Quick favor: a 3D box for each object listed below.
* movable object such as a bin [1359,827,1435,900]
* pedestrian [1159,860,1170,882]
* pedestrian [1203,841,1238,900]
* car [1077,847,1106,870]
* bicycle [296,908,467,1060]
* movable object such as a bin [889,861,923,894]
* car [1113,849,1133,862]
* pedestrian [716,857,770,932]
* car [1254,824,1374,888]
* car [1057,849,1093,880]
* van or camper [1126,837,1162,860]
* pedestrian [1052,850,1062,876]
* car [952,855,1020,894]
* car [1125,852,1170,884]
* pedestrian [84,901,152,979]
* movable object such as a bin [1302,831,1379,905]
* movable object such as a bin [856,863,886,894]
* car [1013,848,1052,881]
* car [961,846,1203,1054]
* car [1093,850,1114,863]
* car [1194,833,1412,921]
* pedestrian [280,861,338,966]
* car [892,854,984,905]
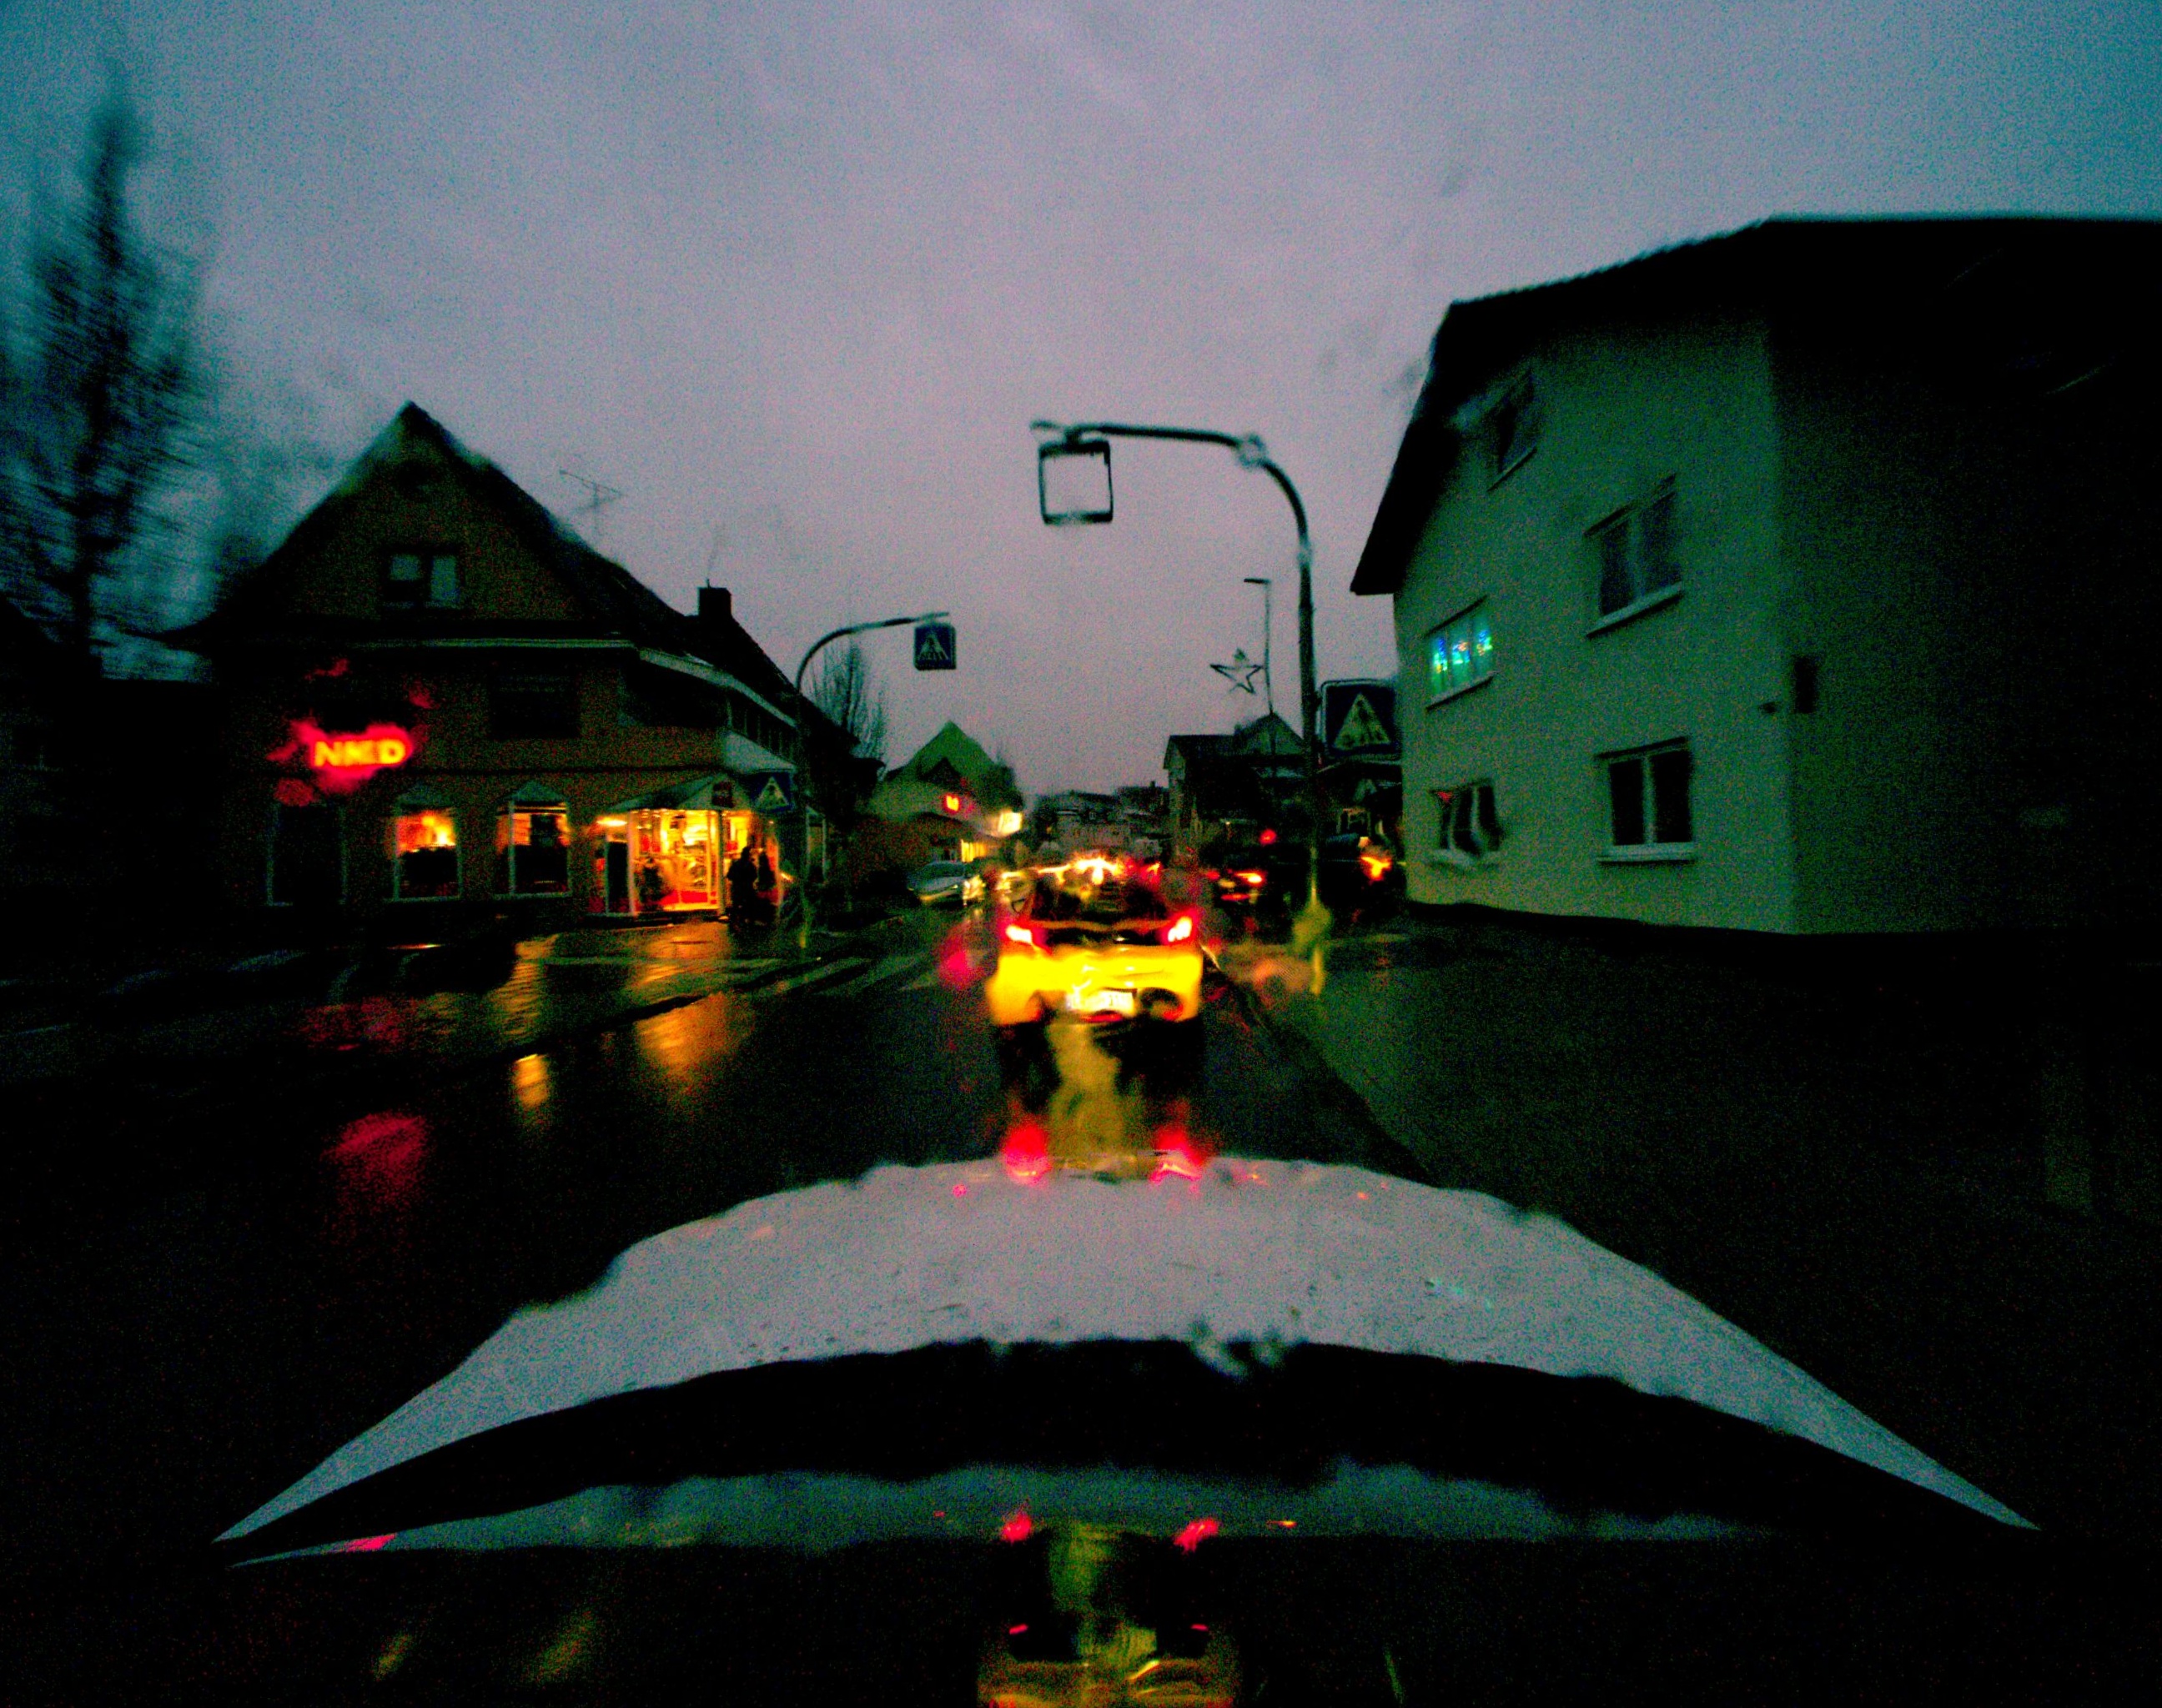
[{"bbox_3d":[7.612,0.218,19.666,1.281,1.644,1.185,-4,0,0],"label":"movable object such as a bin"},{"bbox_3d":[6.783,1.416,66.375,0.743,1.729,0.873,-1,1,0],"label":"pedestrian"},{"bbox_3d":[4.551,0.518,26.627,0.963,1.889,1.006,0,-1,0],"label":"pedestrian"},{"bbox_3d":[0.788,0.316,65.153,1.948,1.546,4.410,2,2,-4],"label":"car"},{"bbox_3d":[-6.334,1.113,7.485,0.324,1.061,1.737,-6,2,-13],"label":"bicycle"},{"bbox_3d":[-7.883,1.052,36.685,1.339,1.354,0.887,-4,-1,-7],"label":"movable object such as a bin"},{"bbox_3d":[6.121,0.238,119.504,1.995,1.610,4.158,-3,-1,-11],"label":"car"},{"bbox_3d":[-7.721,0.896,18.631,0.825,1.658,1.096,0,0,-4],"label":"pedestrian"},{"bbox_3d":[8.546,0.076,30.242,4.064,2.049,2.006,-3,0,11],"label":"car"},{"bbox_3d":[-0.296,0.605,49.416,1.986,1.705,4.969,1,1,1],"label":"car"},{"bbox_3d":[9.237,-0.791,120.154,2.660,3.047,6.690,-5,1,-19],"label":"van or camper"},{"bbox_3d":[-1.532,0.560,51.364,0.572,1.585,0.530,-1,1,0],"label":"pedestrian"},{"bbox_3d":[-3.936,0.823,34.583,1.985,1.522,4.982,-1,0,3],"label":"car"},{"bbox_3d":[3.397,0.683,42.207,1.987,1.588,3.999,0,0,0],"label":"car"},{"bbox_3d":[-16.699,1.469,14.124,0.815,1.245,0.691,0,-1,36],"label":"pedestrian"},{"bbox_3d":[6.259,0.322,19.754,1.388,1.644,1.261,-3,0,0],"label":"movable object such as a bin"},{"bbox_3d":[-9.417,1.083,36.549,1.149,1.354,0.849,-1,0,-7],"label":"movable object such as a bin"},{"bbox_3d":[-2.778,0.566,47.740,2.080,1.792,5.022,-1,0,-1],"label":"car"},{"bbox_3d":[0.144,0.719,8.065,1.806,1.533,4.004,0,0,4],"label":"car"},{"bbox_3d":[3.256,0.330,119.266,1.996,1.765,4.330,-3,1,-13],"label":"car"},{"bbox_3d":[4.560,0.422,16.724,4.006,1.625,1.982,0,0,-25],"label":"car"},{"bbox_3d":[-15.333,1.149,16.168,0.815,2.014,0.741,0,-1,40],"label":"pedestrian"},{"bbox_3d":[-4.692,0.796,27.392,1.985,1.558,4.625,0,0,4],"label":"car"}]
